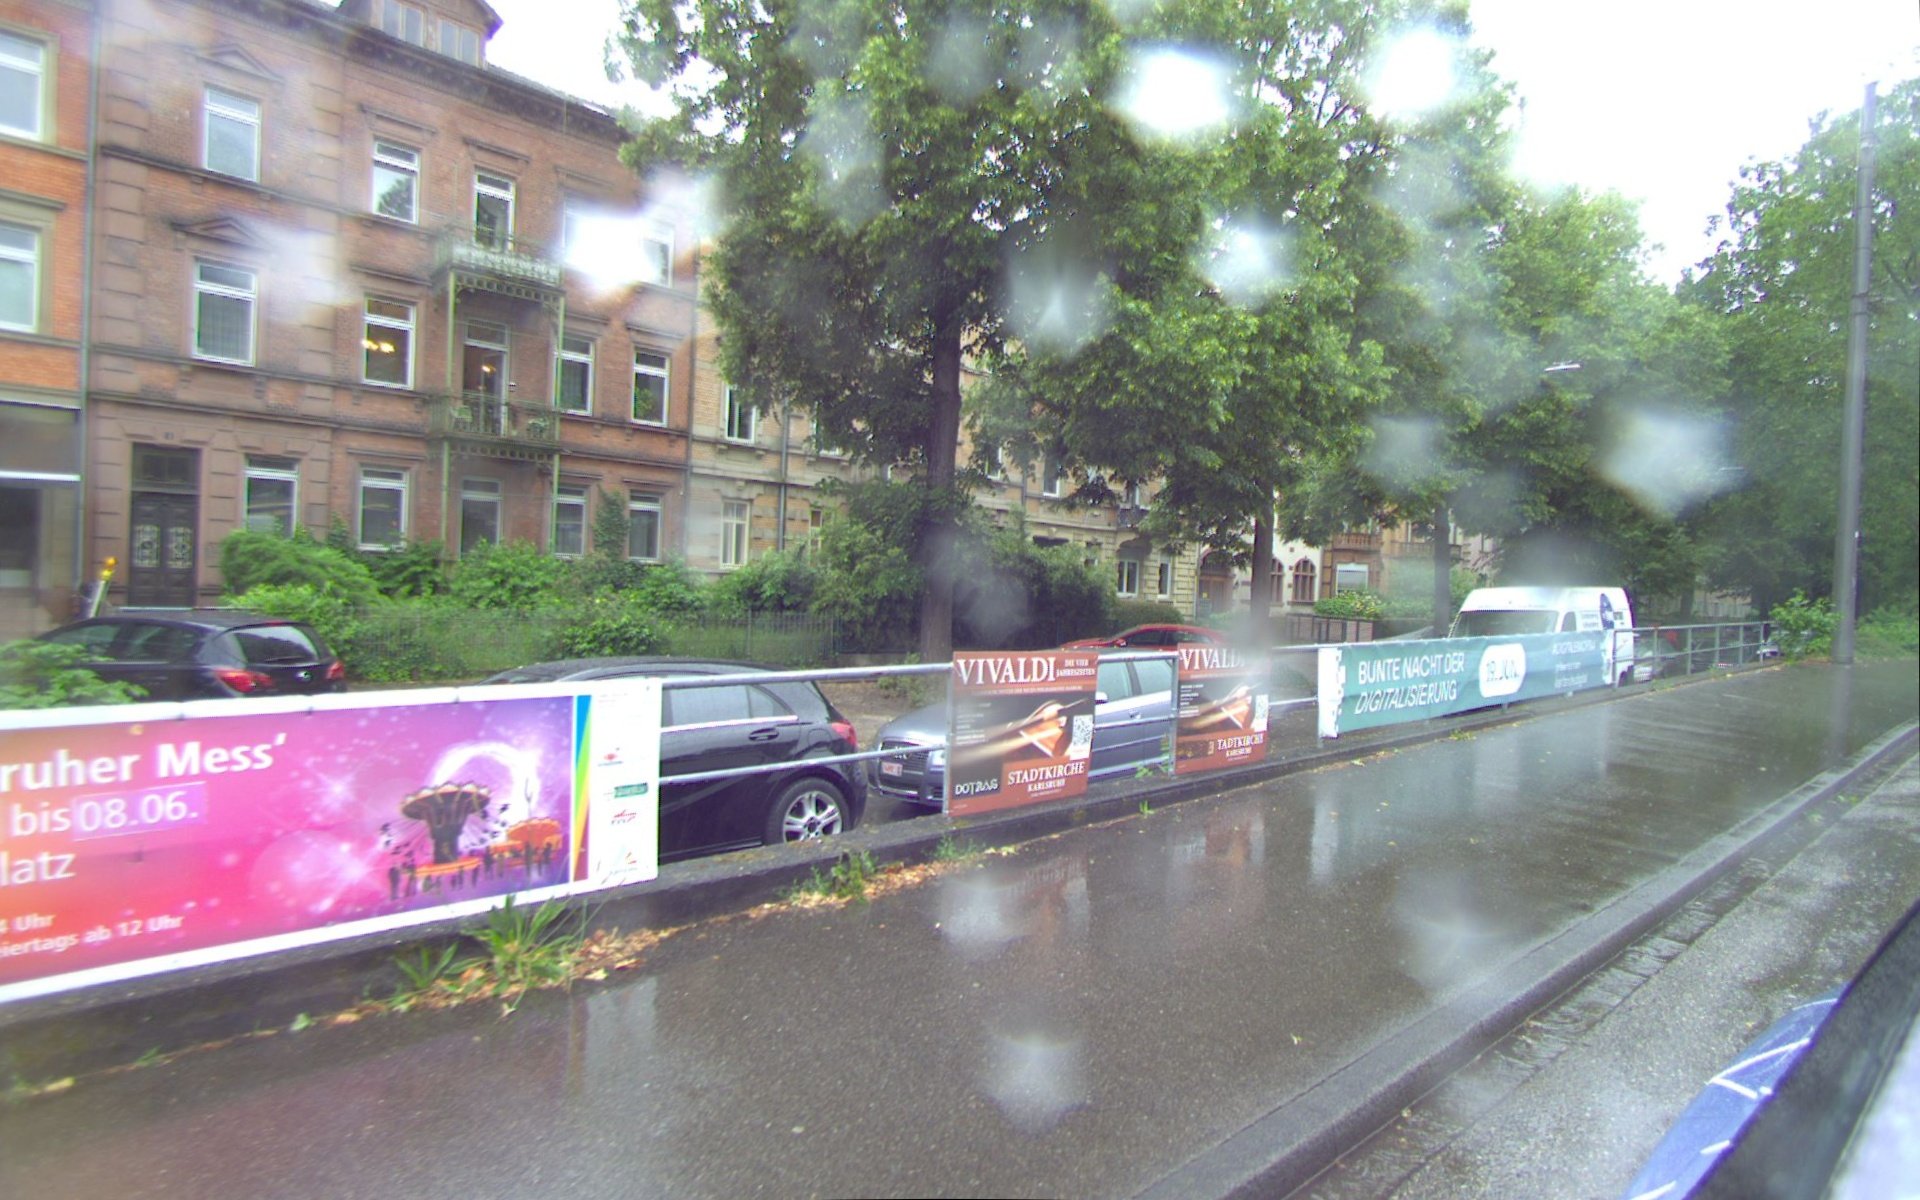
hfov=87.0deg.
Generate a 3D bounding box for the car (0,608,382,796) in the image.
[{"bbox_3d":[-8.655,0.992,10.730,3.923,1.735,2.001,0,0,-1],"label":"car"}]

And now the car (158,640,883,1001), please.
[{"bbox_3d":[-2.567,1.056,6.422,3.903,1.418,1.706,0,1,-41],"label":"car"}]

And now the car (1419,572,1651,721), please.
[{"bbox_3d":[11.271,0.767,19.584,6.055,2.451,2.211,0,0,-43],"label":"car"}]

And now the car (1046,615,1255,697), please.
[{"bbox_3d":[4.283,1.180,22.602,4.372,1.471,1.888,2,1,18],"label":"car"}]

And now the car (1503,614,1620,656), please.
[{"bbox_3d":[25.503,1.451,43.085,3.948,1.629,1.814,1,0,19],"label":"car"}]

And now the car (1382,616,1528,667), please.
[{"bbox_3d":[16.421,1.356,33.807,4.214,1.397,1.679,2,2,22],"label":"car"}]

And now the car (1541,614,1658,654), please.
[{"bbox_3d":[28.380,1.486,45.076,3.942,1.585,1.991,1,0,15],"label":"car"}]

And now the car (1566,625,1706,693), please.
[{"bbox_3d":[16.360,1.352,24.404,4.312,1.370,1.968,0,0,-44],"label":"car"}]

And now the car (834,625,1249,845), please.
[{"bbox_3d":[0.929,1.077,9.725,4.005,1.559,1.734,0,0,-43],"label":"car"}]

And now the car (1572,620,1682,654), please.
[{"bbox_3d":[31.984,1.748,48.640,3.942,1.482,1.904,1,0,15],"label":"car"}]
